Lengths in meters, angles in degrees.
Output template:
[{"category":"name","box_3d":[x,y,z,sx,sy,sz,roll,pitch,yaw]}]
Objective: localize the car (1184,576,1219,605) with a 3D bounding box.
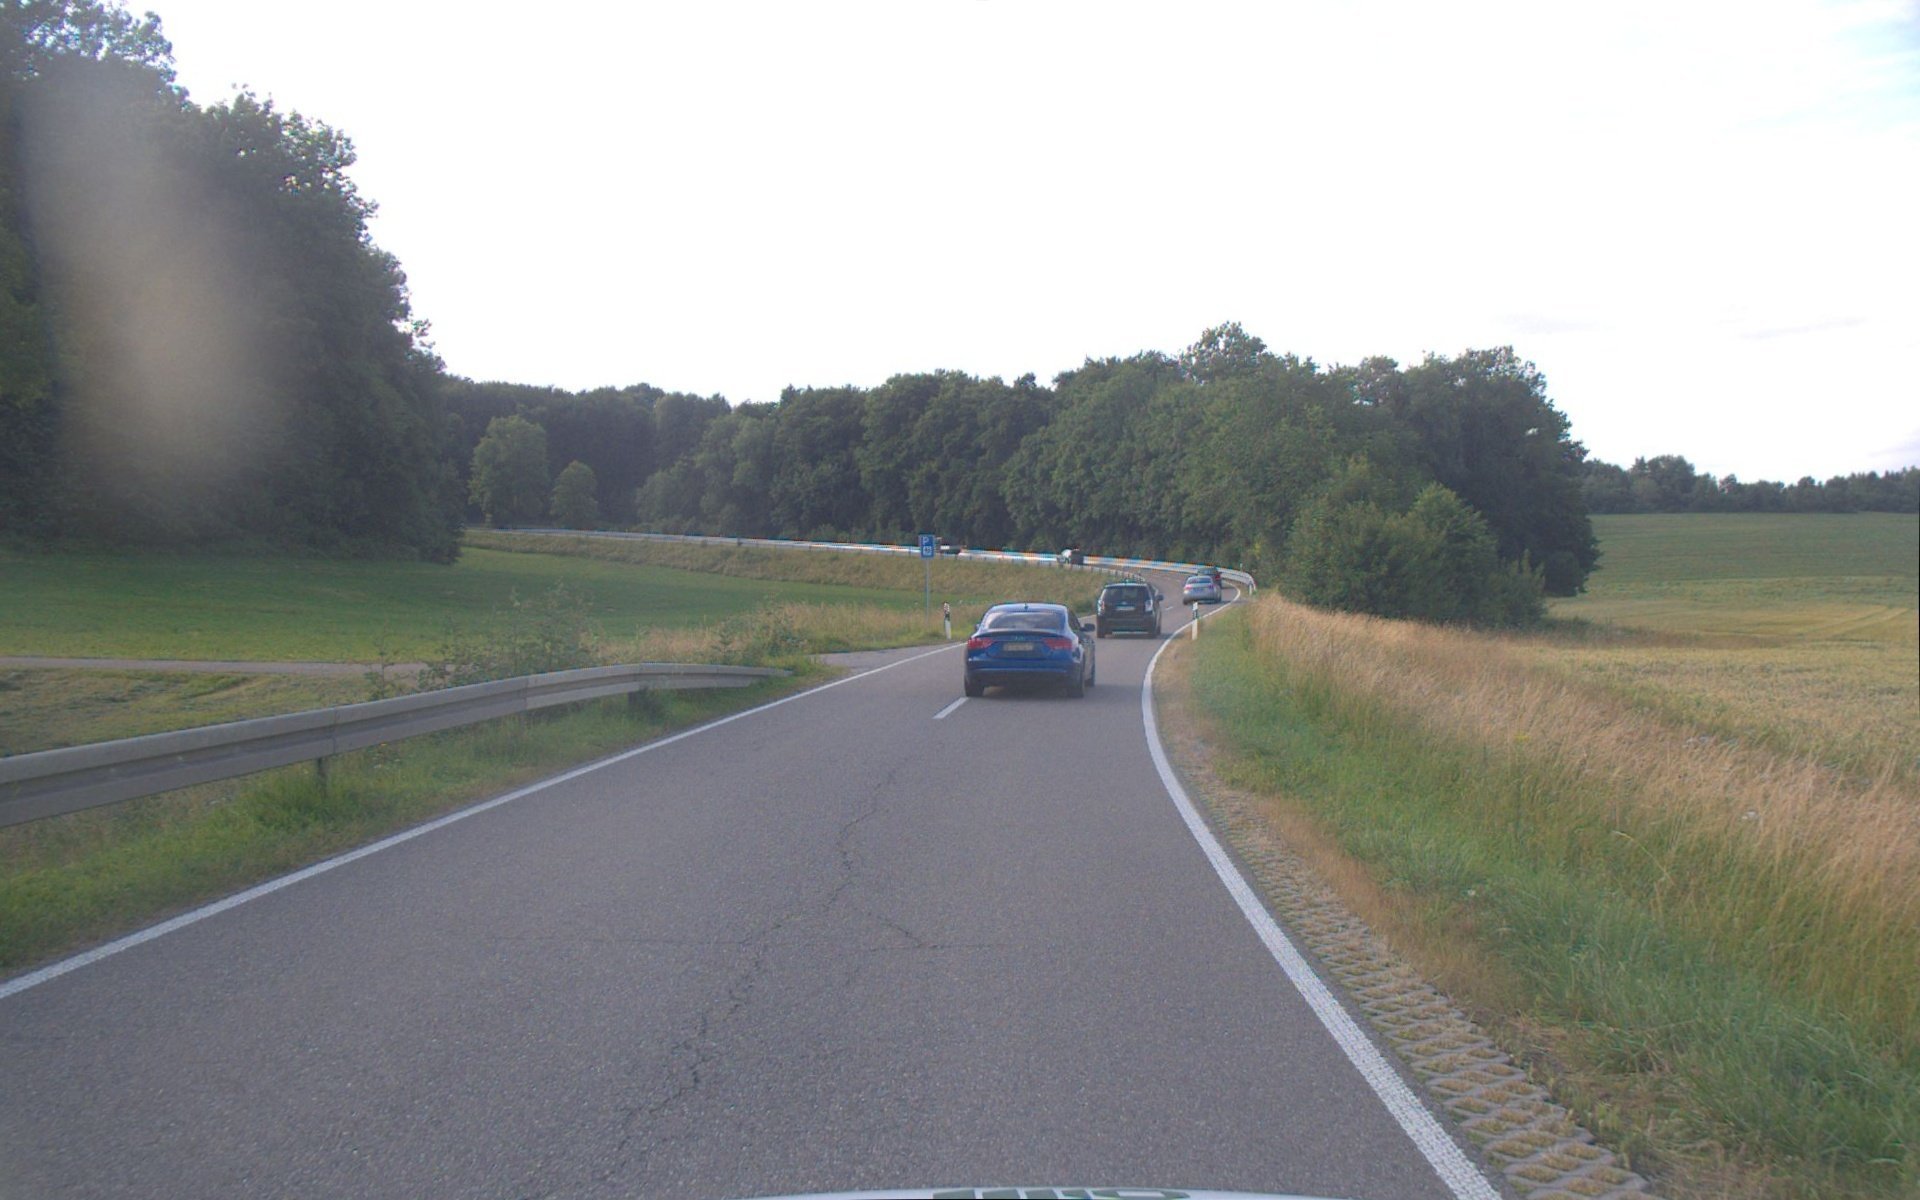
[{"category":"car","box_3d":[12.538,-0.522,85.687,1.646,1.400,4.004,-2,1,10]}]

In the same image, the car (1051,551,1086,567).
[{"category":"car","box_3d":[11.751,-4.479,179.672,1.970,1.708,4.142,-1,2,-27]}]

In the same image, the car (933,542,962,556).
[{"category":"car","box_3d":[-1.580,-6.448,208.800,1.974,1.802,3.957,-1,2,-32]}]

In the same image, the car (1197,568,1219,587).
[{"category":"car","box_3d":[16.979,-1.547,113.308,1.440,1.248,3.303,-2,1,8]}]

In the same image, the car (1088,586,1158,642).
[{"category":"car","box_3d":[4.942,0.399,49.736,1.822,1.596,4.003,-1,0,9]}]

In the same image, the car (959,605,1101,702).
[{"category":"car","box_3d":[1.183,0.783,25.892,1.780,1.362,4.353,1,0,8]}]
